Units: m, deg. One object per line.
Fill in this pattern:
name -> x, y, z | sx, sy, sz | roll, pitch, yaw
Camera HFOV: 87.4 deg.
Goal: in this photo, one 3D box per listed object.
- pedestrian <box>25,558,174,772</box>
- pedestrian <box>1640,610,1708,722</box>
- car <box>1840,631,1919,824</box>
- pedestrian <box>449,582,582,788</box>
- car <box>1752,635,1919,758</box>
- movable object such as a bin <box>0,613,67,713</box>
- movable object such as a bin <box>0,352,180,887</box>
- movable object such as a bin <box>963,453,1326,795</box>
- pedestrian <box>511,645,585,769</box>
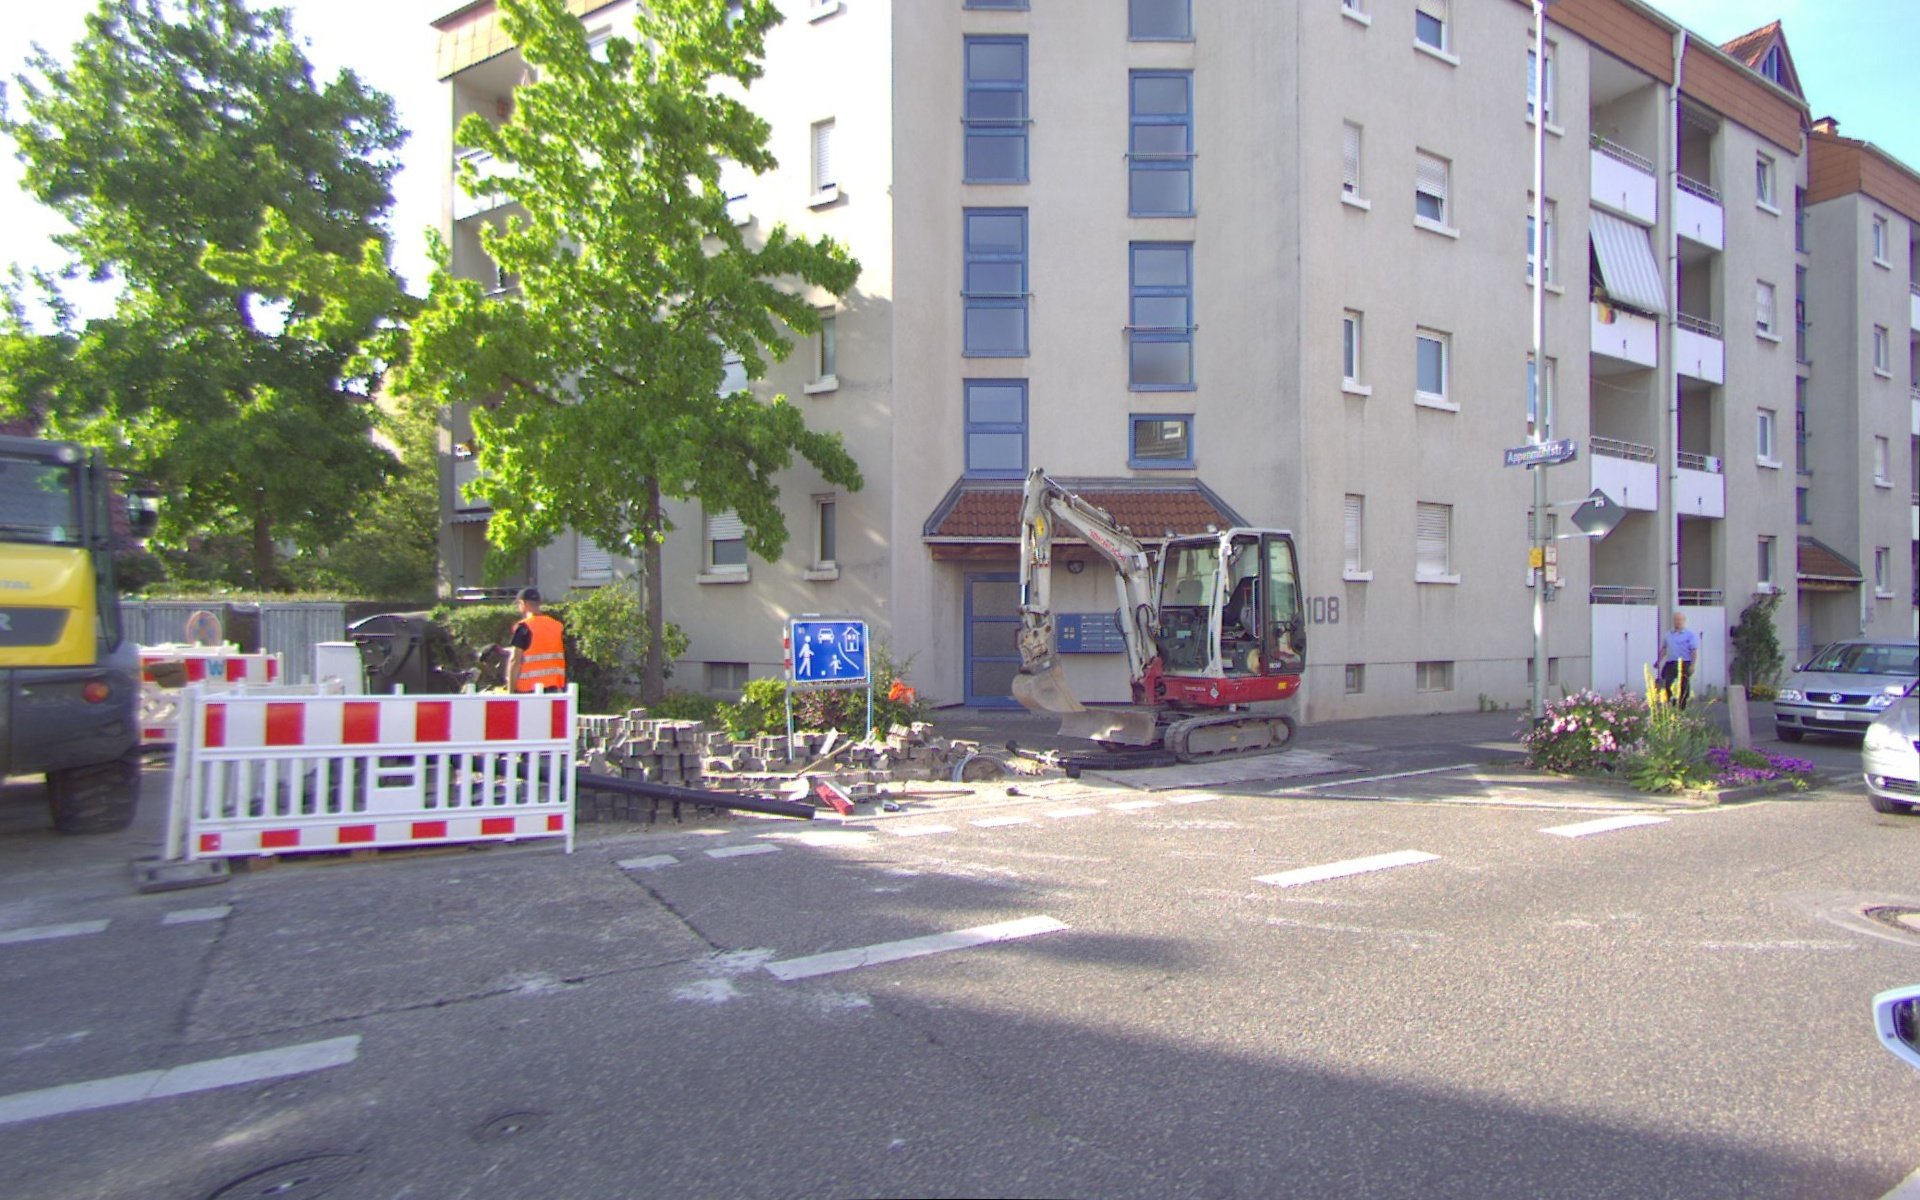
pedestrian -> -8.617, 0.632, 10.101 | 0.879, 2.045, 0.764 | 1, 0, -19
pedestrian -> 12.127, 1.097, 17.062 | 0.736, 1.843, 0.715 | 0, 0, -30
car -> 9.071, 0.993, 8.374 | 3.644, 1.474, 1.609 | 1, -2, -32
pedestrian -> -3.866, 0.701, 8.730 | 0.982, 1.686, 0.665 | 1, 0, -30
car -> 12.489, 1.204, 13.632 | 3.631, 1.414, 1.631 | 1, -1, -32
movable object such as a bin -> -14.978, 0.943, 15.262 | 1.294, 1.466, 1.626 | 2, -1, 16
movable object such as a bin -> -7.365, 0.104, 7.266 | 2.098, 2.939, 5.441 | 0, 0, -45
movable object such as a bin -> 2.095, 0.250, 11.076 | 3.857, 3.180, 1.639 | 0, -1, -32
pedestrian -> -3.928, 0.998, 9.572 | 0.590, 1.114, 0.497 | 1, 0, -30
